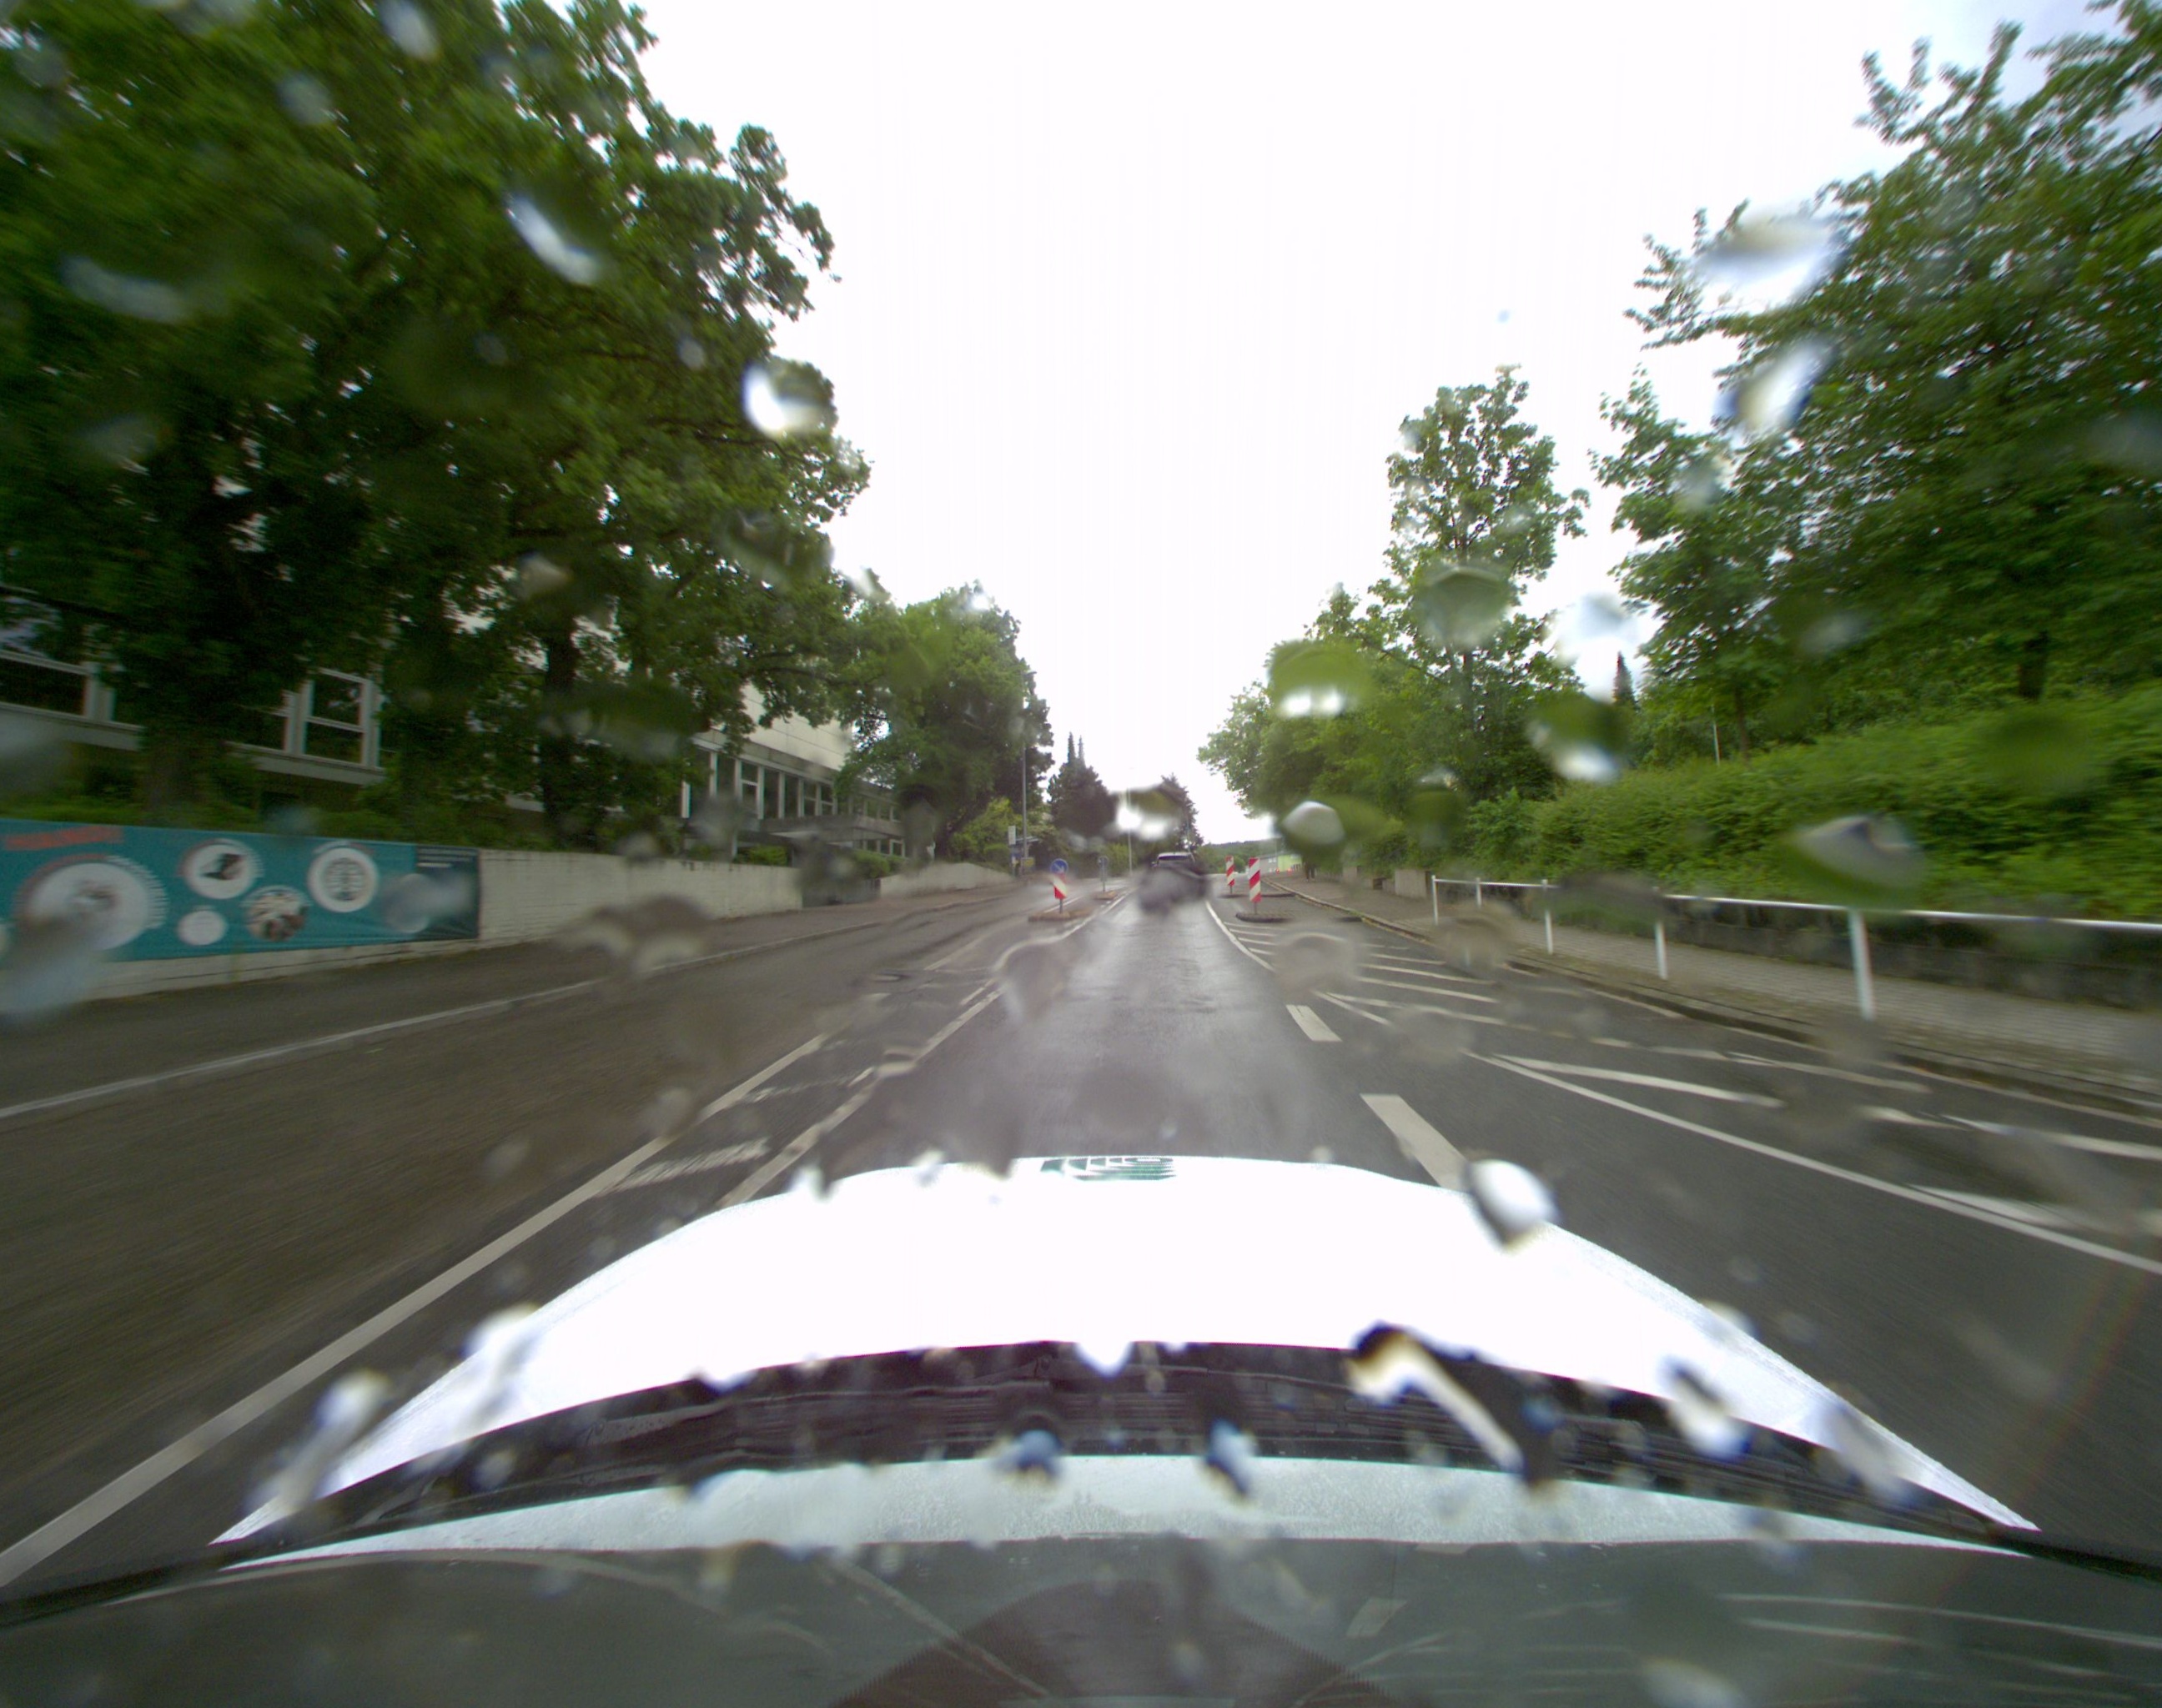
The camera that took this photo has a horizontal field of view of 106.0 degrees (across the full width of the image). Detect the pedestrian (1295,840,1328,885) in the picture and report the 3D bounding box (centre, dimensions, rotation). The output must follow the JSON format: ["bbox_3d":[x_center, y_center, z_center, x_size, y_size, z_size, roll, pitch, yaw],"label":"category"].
[{"bbox_3d":[9.864,0.378,34.903,1.047,1.893,1.133,-2,-3,1],"label":"pedestrian"}]

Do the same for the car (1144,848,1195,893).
[{"bbox_3d":[3.427,0.596,31.972,1.781,1.603,4.259,-2,0,5],"label":"car"}]
